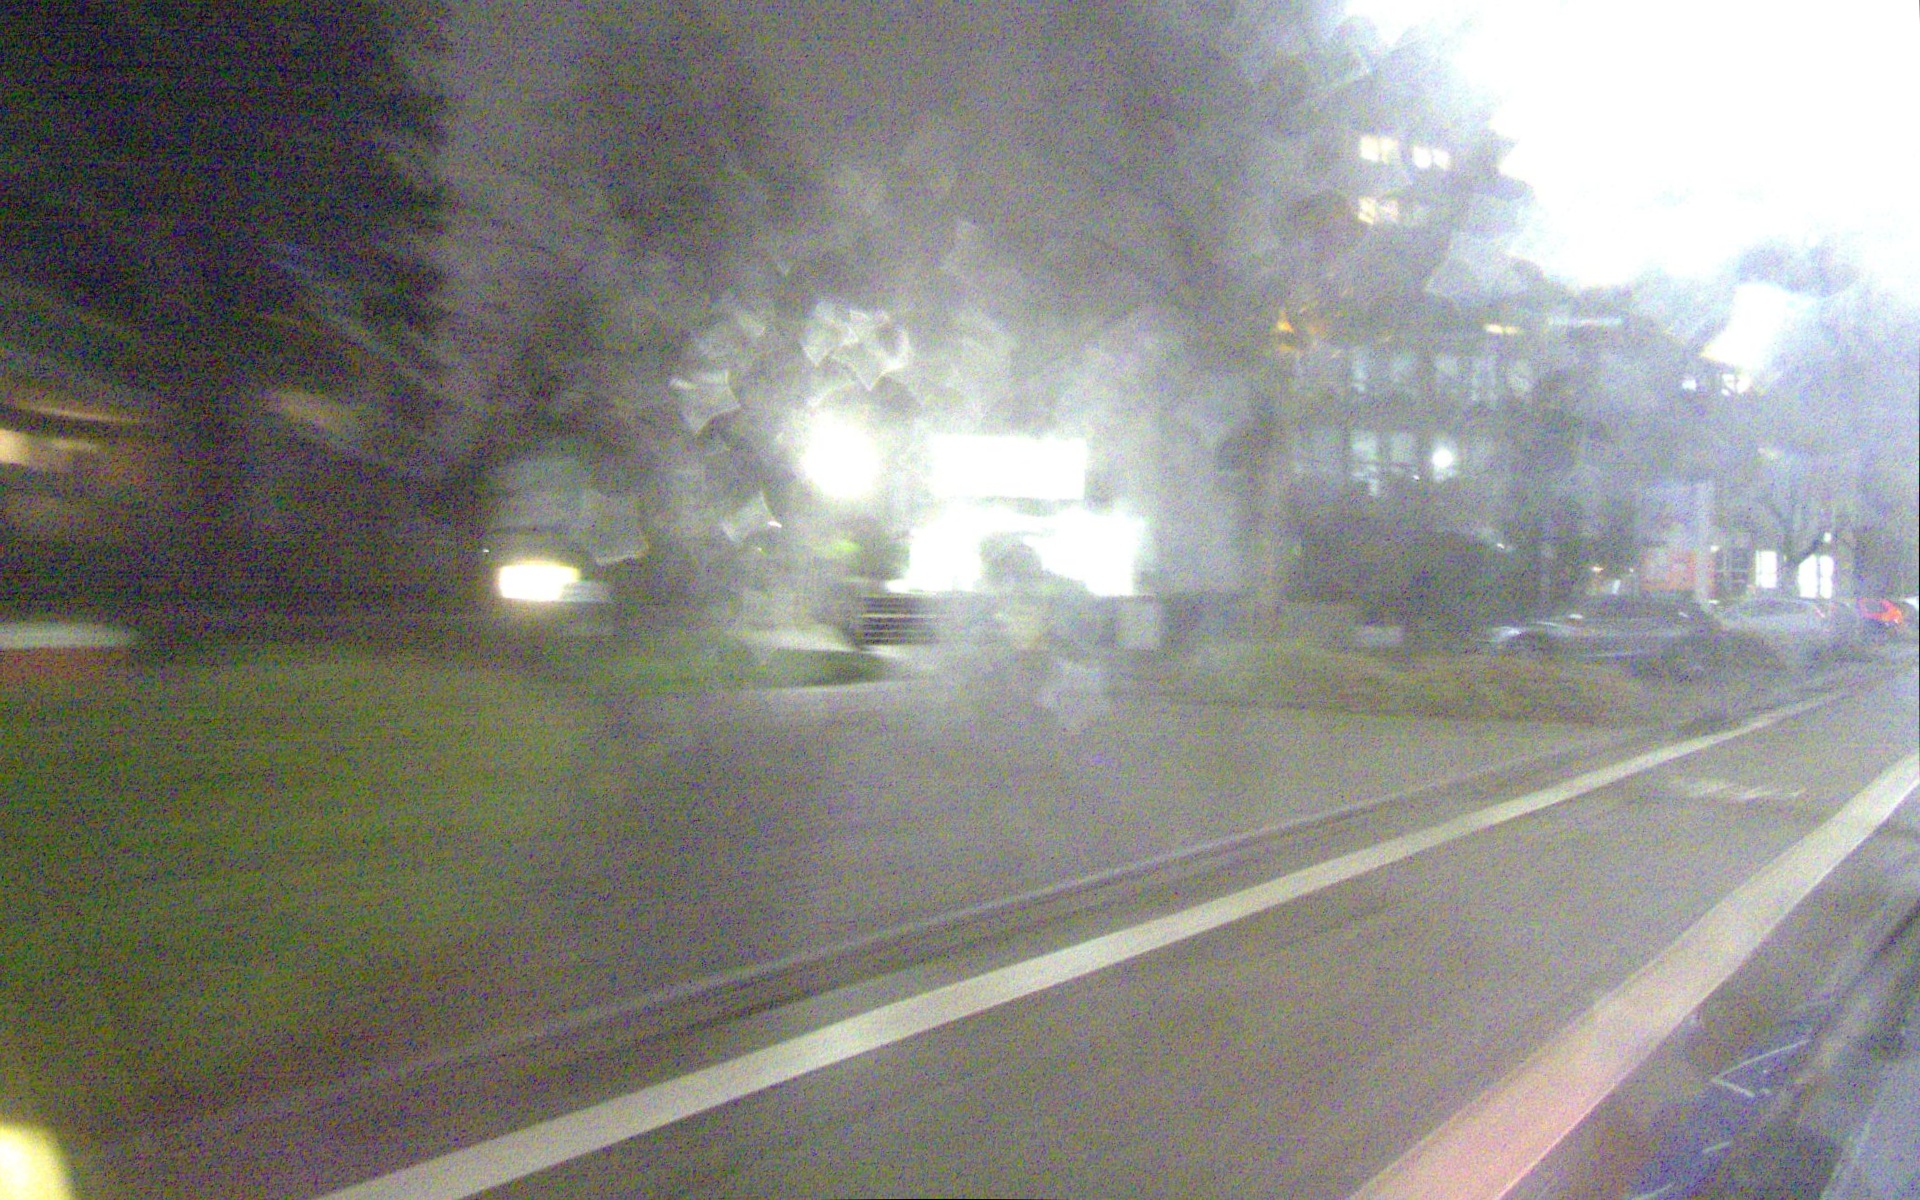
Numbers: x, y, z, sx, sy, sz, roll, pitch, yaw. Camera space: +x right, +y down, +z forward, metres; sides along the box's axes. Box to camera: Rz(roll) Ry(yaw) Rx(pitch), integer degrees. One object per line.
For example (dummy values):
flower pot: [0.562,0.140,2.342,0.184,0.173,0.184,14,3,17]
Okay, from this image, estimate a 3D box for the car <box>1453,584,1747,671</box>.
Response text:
car: [11.716,0.462,18.818,4.273,1.486,1.676,0,1,12]

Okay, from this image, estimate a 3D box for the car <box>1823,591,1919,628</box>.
car: [40.107,0.393,44.006,3.602,1.546,1.715,0,1,4]

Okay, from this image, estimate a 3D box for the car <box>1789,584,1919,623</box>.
car: [35.211,0.129,39.541,4.091,1.463,1.652,-1,0,7]

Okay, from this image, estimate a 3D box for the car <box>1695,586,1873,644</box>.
car: [23.490,0.396,28.979,3.517,1.490,1.648,1,1,12]

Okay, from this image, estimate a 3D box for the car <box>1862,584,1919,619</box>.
car: [43.818,0.068,45.915,3.946,1.546,1.797,0,1,8]

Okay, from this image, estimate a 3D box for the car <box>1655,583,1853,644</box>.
car: [20.993,0.332,26.885,3.835,1.531,1.711,0,1,3]

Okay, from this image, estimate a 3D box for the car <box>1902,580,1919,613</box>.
car: [55.256,-0.205,56.236,3.897,1.793,1.664,0,1,13]

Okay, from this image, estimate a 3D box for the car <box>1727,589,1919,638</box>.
car: [26.364,0.400,31.005,4.185,1.435,1.781,0,1,9]

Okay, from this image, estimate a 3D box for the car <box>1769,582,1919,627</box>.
car: [30.923,0.150,35.222,4.108,1.501,1.662,0,-1,2]
